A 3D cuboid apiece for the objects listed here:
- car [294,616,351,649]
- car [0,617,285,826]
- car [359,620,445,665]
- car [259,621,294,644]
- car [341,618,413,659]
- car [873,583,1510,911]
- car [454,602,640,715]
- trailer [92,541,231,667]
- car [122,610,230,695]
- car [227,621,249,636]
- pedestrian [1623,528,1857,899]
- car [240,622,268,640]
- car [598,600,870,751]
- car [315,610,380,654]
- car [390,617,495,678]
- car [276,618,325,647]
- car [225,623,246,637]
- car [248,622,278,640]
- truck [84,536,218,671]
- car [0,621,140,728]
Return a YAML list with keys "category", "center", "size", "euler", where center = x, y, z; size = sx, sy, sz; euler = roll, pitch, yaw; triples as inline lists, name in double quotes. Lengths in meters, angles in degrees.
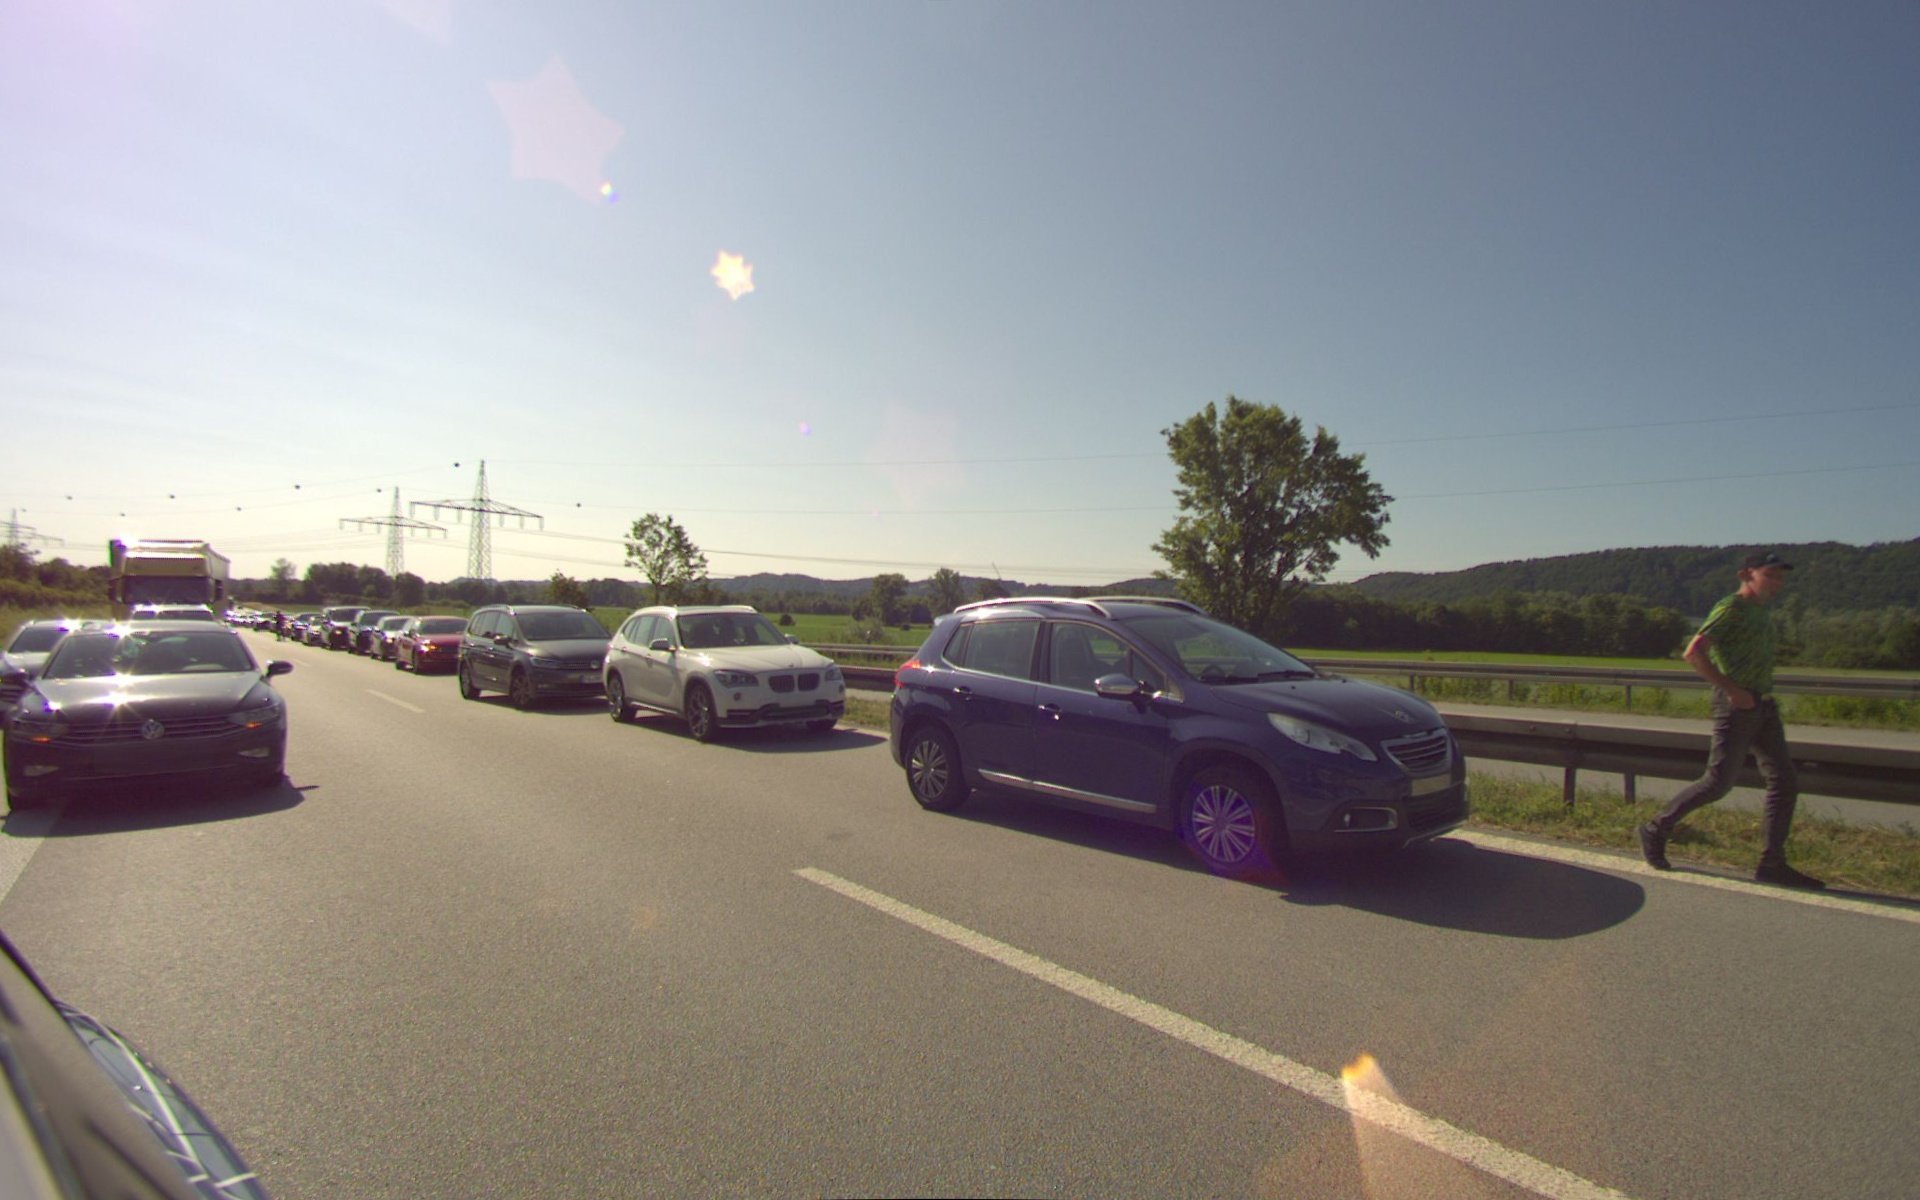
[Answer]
- category: "car"
  center: [-31.305, 1.576, 49.652]
  size: [1.968, 1.542, 4.008]
  euler: [2, -2, -38]
- category: "car"
  center: [-7.345, 0.885, 9.231]
  size: [1.690, 1.424, 4.334]
  euler: [0, -1, -38]
- category: "car"
  center: [-18.721, 1.371, 33.883]
  size: [1.866, 1.409, 4.008]
  euler: [1, -2, -38]
- category: "car"
  center: [-45.585, 2.153, 67.470]
  size: [1.791, 1.470, 4.127]
  euler: [-1, -1, -37]
- category: "car"
  center: [-22.382, 1.444, 38.768]
  size: [1.865, 1.466, 4.008]
  euler: [1, -2, -38]
- category: "car"
  center: [1.263, 0.714, 6.828]
  size: [1.667, 1.546, 3.954]
  euler: [-1, 0, -41]
- category: "car"
  center: [-7.027, 0.889, 16.977]
  size: [1.792, 1.628, 4.125]
  euler: [0, -1, -38]
- category: "trailer"
  center: [-31.082, 0.177, 39.986]
  size: [3.334, 4.144, 13.989]
  euler: [0, 0, -34]
- category: "car"
  center: [-16.890, 1.061, 21.856]
  size: [1.690, 1.636, 4.334]
  euler: [0, -1, -38]
- category: "car"
  center: [-74.070, 2.950, 103.810]
  size: [1.791, 1.470, 4.127]
  euler: [-1, -1, -37]
- category: "pedestrian"
  center: [4.101, 0.551, 5.346]
  size: [0.662, 1.763, 0.816]
  euler: [2, -2, -37]
- category: "car"
  center: [-61.308, 2.693, 87.875]
  size: [1.792, 1.470, 4.126]
  euler: [-1, -1, -38]
- category: "car"
  center: [-3.023, 0.835, 12.853]
  size: [1.804, 1.586, 4.172]
  euler: [1, -1, -37]
- category: "car"
  center: [-26.726, 1.393, 44.114]
  size: [1.873, 1.801, 4.208]
  euler: [2, -2, -39]
- category: "car"
  center: [-13.718, 1.210, 26.726]
  size: [1.791, 1.470, 4.127]
  euler: [2, -2, -36]
- category: "car"
  center: [-37.117, 1.819, 56.923]
  size: [1.968, 1.542, 4.008]
  euler: [1, -2, -38]
- category: "car"
  center: [-77.534, 3.229, 108.275]
  size: [1.791, 1.470, 4.127]
  euler: [2, -2, -36]
- category: "car"
  center: [-55.995, 2.480, 81.316]
  size: [1.791, 1.470, 4.126]
  euler: [2, -2, -37]
- category: "truck"
  center: [-27.647, 0.127, 34.914]
  size: [3.281, 4.144, 6.986]
  euler: [0, 0, -36]
- category: "car"
  center: [-14.029, 1.061, 15.867]
  size: [1.690, 1.436, 4.334]
  euler: [0, -1, -38]
